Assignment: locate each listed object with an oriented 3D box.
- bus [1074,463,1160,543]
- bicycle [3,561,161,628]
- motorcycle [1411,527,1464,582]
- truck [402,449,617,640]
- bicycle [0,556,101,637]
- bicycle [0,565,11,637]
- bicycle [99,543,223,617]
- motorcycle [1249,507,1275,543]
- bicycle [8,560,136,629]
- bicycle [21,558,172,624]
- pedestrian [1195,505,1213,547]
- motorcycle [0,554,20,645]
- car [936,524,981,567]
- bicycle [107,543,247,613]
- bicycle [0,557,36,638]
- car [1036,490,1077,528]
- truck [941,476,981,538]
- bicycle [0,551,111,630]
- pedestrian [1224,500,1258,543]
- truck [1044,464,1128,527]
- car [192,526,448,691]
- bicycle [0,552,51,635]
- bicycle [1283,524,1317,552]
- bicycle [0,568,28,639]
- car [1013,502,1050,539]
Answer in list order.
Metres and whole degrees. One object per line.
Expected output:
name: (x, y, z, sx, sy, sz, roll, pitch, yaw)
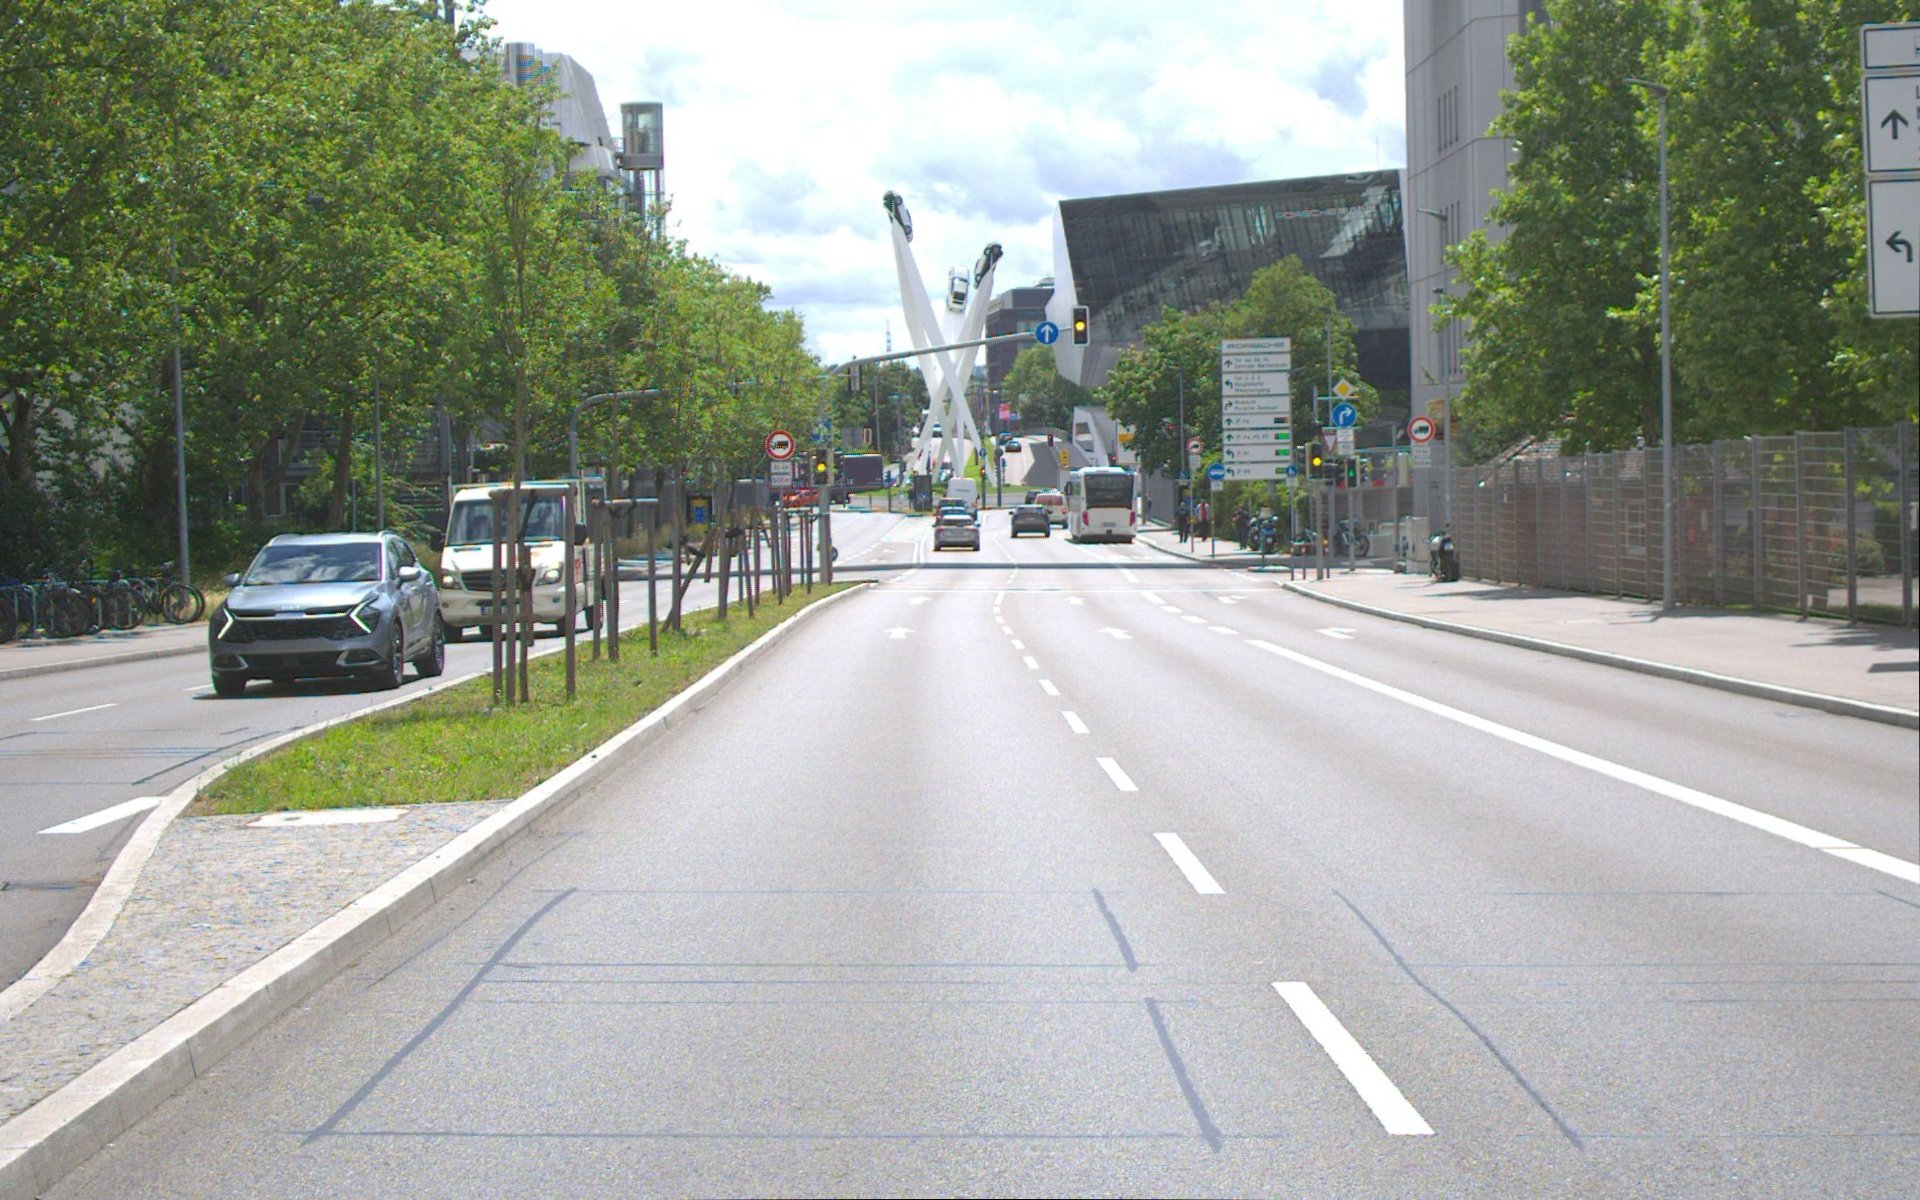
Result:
bus: (7.128, -4.429, 157.385, 3.452, 3.531, 10.607, 0, 1, 0)
bicycle: (-15.270, -0.092, 59.802, 2.566, 1.092, 0.695, -1, 1, 10)
motorcycle: (10.472, -1.000, 75.423, 0.692, 1.154, 2.148, -2, 1, -4)
truck: (-6.880, -0.878, 53.328, 2.479, 2.741, 6.459, -1, 1, 0)
bicycle: (-14.764, -0.061, 54.867, 1.918, 1.278, 0.806, 0, 1, -1)
bicycle: (-15.275, 0.021, 51.600, 1.924, 1.071, 0.422, 0, 1, -1)
bicycle: (-14.815, -0.381, 63.747, 2.167, 1.359, 0.490, 0, 1, 2)
motorcycle: (10.492, -2.607, 119.355, 0.706, 1.199, 2.024, -2, 2, 1)
bicycle: (-14.733, -0.097, 57.075, 1.918, 1.118, 0.806, 0, 1, -1)
bicycle: (-15.507, -0.169, 61.742, 2.566, 1.153, 0.725, 0, 1, 10)
pedestrian: (10.237, -3.109, 144.248, 0.635, 1.735, 0.823, 0, 1, -8)
motorcycle: (-14.783, -0.013, 49.757, 2.133, 1.304, 0.806, 0, 1, -1)
car: (-0.046, -2.206, 138.374, 1.738, 1.735, 3.691, 0, 1, 1)
bicycle: (-14.239, -0.406, 62.529, 2.404, 1.253, 0.556, 0, 1, 2)
bicycle: (-14.846, -0.042, 50.852, 2.133, 1.176, 0.806, 0, 1, -1)
car: (5.376, -5.062, 191.492, 1.993, 2.007, 4.000, 1, 0, -2)
truck: (0.087, -5.859, 216.891, 2.392, 3.884, 6.177, 0, 1, 1)
bicycle: (-14.899, -0.157, 56.037, 1.918, 1.278, 0.806, 0, 1, -1)
pedestrian: (10.474, -2.927, 128.133, 0.849, 1.619, 0.954, 1, 2, 42)
truck: (9.076, -7.432, 245.793, 3.455, 4.376, 9.412, 0, 1, 19)
car: (-6.655, 0.040, 36.208, 1.905, 1.625, 4.293, 0, 1, 0)
bicycle: (-15.433, -0.107, 53.940, 2.133, 1.278, 0.806, 0, 1, -1)
bicycle: (11.415, -2.074, 115.520, 0.397, 0.933, 1.929, 0, 1, -18)
bicycle: (-15.222, 0.051, 52.069, 2.080, 1.059, 0.497, 0, 1, -1)
car: (3.410, -3.783, 164.339, 1.738, 1.735, 3.691, 0, 1, 1)
